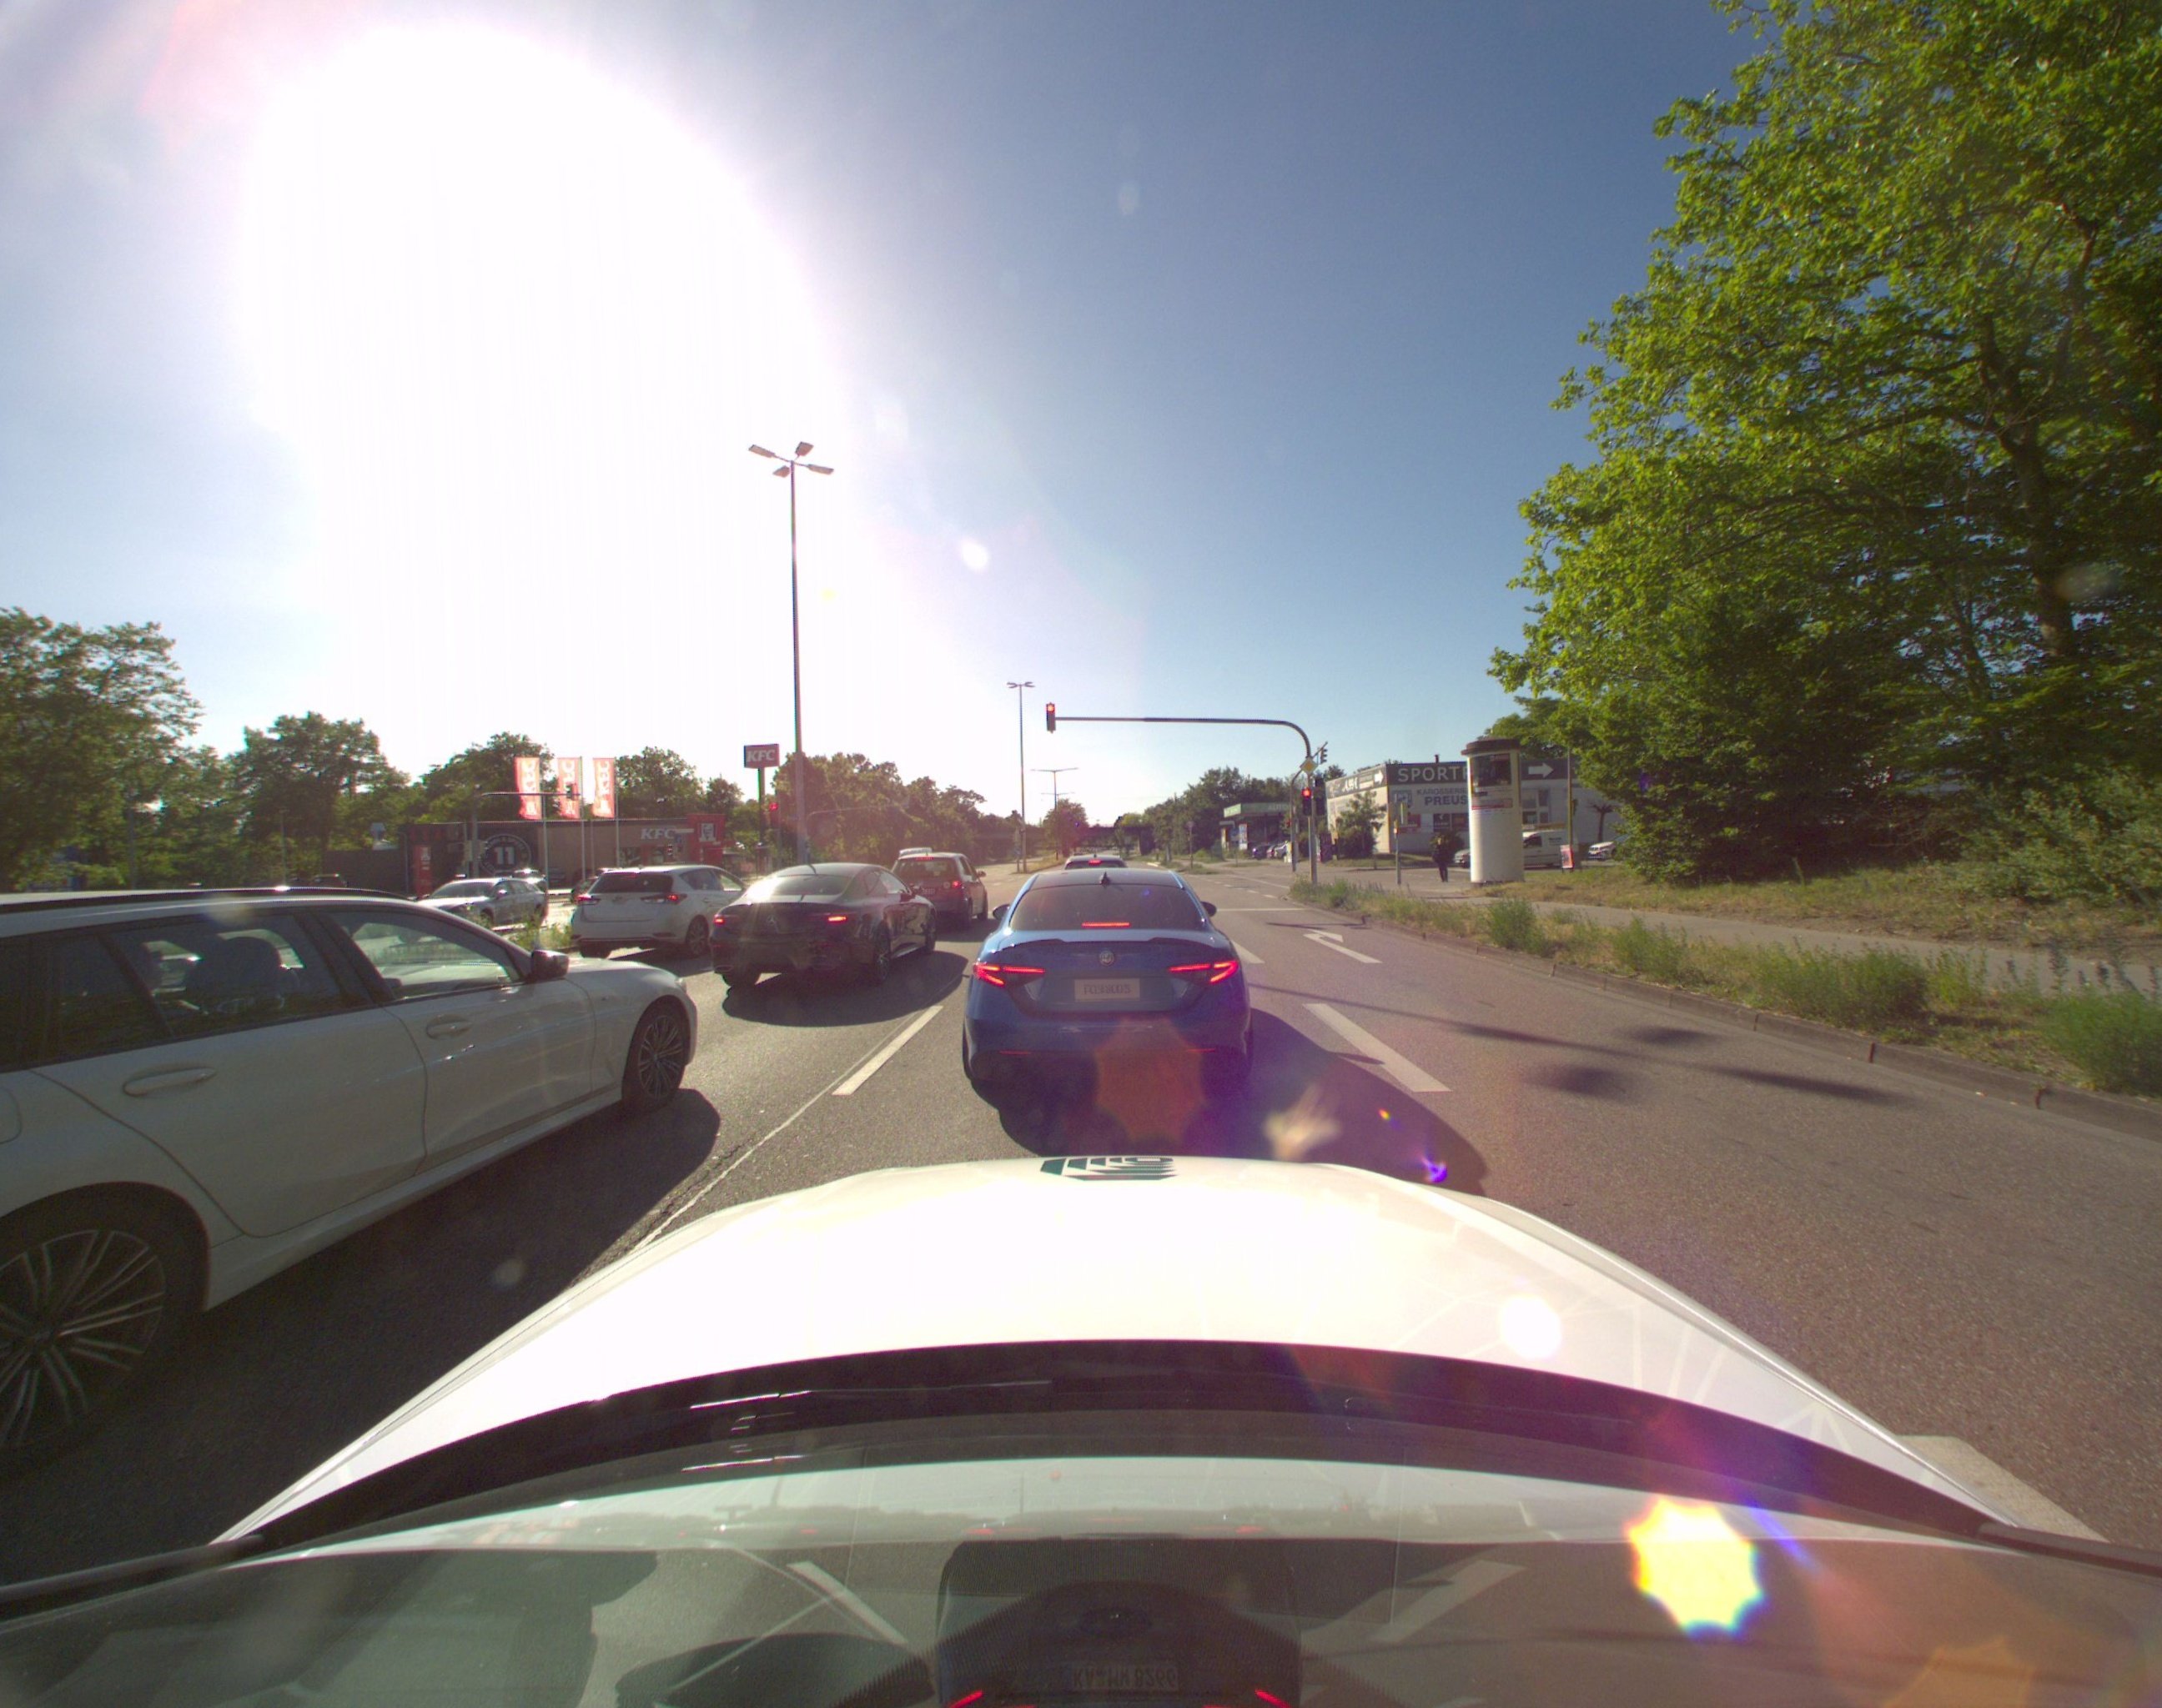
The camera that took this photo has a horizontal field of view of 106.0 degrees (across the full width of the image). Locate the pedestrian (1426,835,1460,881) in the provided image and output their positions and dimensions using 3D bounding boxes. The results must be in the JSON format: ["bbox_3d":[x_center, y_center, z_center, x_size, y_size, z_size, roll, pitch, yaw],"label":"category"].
[{"bbox_3d":[14.116,0.159,31.807,0.922,1.735,0.939,0,-1,1],"label":"pedestrian"}]

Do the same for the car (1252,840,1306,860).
[{"bbox_3d":[17.953,-0.345,73.922,4.470,1.454,1.860,-4,0,3],"label":"car"}]

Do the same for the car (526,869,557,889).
[{"bbox_3d":[-43.139,1.963,65.081,1.670,1.471,3.872,0,-1,-40],"label":"car"}]

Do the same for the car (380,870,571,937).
[{"bbox_3d":[-15.591,1.209,21.307,1.723,1.409,4.304,-4,0,0],"label":"car"}]

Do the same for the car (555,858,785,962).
[{"bbox_3d":[-6.749,0.834,13.960,1.753,1.490,4.197,0,-1,1],"label":"car"}]

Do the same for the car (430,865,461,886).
[{"bbox_3d":[-47.631,1.571,61.012,1.670,1.471,3.872,0,-1,-40],"label":"car"}]

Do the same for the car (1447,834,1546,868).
[{"bbox_3d":[21.772,-0.189,42.729,4.273,1.549,1.765,-3,1,0],"label":"car"}]

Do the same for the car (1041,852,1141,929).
[{"bbox_3d":[0.221,0.701,17.375,1.844,1.418,4.403,0,0,1],"label":"car"}]

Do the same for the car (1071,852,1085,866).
[{"bbox_3d":[-0.406,0.674,113.030,1.884,1.816,4.001,0,-1,2],"label":"car"}]

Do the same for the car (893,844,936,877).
[{"bbox_3d":[-13.656,0.562,67.178,2.015,2.447,5.823,-5,0,1],"label":"car"}]

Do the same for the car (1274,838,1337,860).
[{"bbox_3d":[17.710,-0.415,64.338,4.470,1.454,1.860,-4,0,3],"label":"car"}]

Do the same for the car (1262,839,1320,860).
[{"bbox_3d":[17.993,-0.373,69.868,4.470,1.454,1.860,-4,0,3],"label":"car"}]

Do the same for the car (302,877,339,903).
[{"bbox_3d":[-52.365,2.470,56.117,1.670,1.673,3.897,0,-1,-40],"label":"car"}]

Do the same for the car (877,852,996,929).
[{"bbox_3d":[-3.022,0.721,17.931,1.753,1.490,4.403,0,0,1],"label":"car"}]

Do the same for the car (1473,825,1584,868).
[{"bbox_3d":[21.557,-0.375,39.352,4.367,1.801,1.765,-3,1,0],"label":"car"}]

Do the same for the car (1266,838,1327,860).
[{"bbox_3d":[17.716,-0.402,67.119,4.470,1.454,1.860,-4,0,3],"label":"car"}]

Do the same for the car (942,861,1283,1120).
[{"bbox_3d":[0.209,0.779,6.732,1.889,1.418,4.403,0,0,1],"label":"car"}]

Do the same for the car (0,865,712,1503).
[{"bbox_3d":[-3.425,0.806,3.323,1.779,1.490,4.403,0,0,1],"label":"car"}]

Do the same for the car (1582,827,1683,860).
[{"bbox_3d":[28.874,-0.522,42.719,4.028,1.490,1.782,-3,0,-1],"label":"car"}]

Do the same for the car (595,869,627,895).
[{"bbox_3d":[-33.660,1.940,58.361,1.920,1.752,4.315,0,-1,-29],"label":"car"}]

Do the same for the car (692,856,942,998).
[{"bbox_3d":[-3.168,0.786,10.828,1.790,1.490,4.476,0,0,1],"label":"car"}]

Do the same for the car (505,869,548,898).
[{"bbox_3d":[-37.330,1.945,54.882,2.005,1.765,4.315,0,-1,-29],"label":"car"}]

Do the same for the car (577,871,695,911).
[{"bbox_3d":[-20.495,1.699,37.622,4.392,1.490,1.766,-4,0,3],"label":"car"}]

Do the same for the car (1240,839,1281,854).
[{"bbox_3d":[21.398,-0.871,97.031,4.532,1.490,1.766,-4,0,3],"label":"car"}]

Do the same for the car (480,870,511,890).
[{"bbox_3d":[-45.631,2.031,63.428,1.670,1.471,3.872,0,-1,-40],"label":"car"}]
